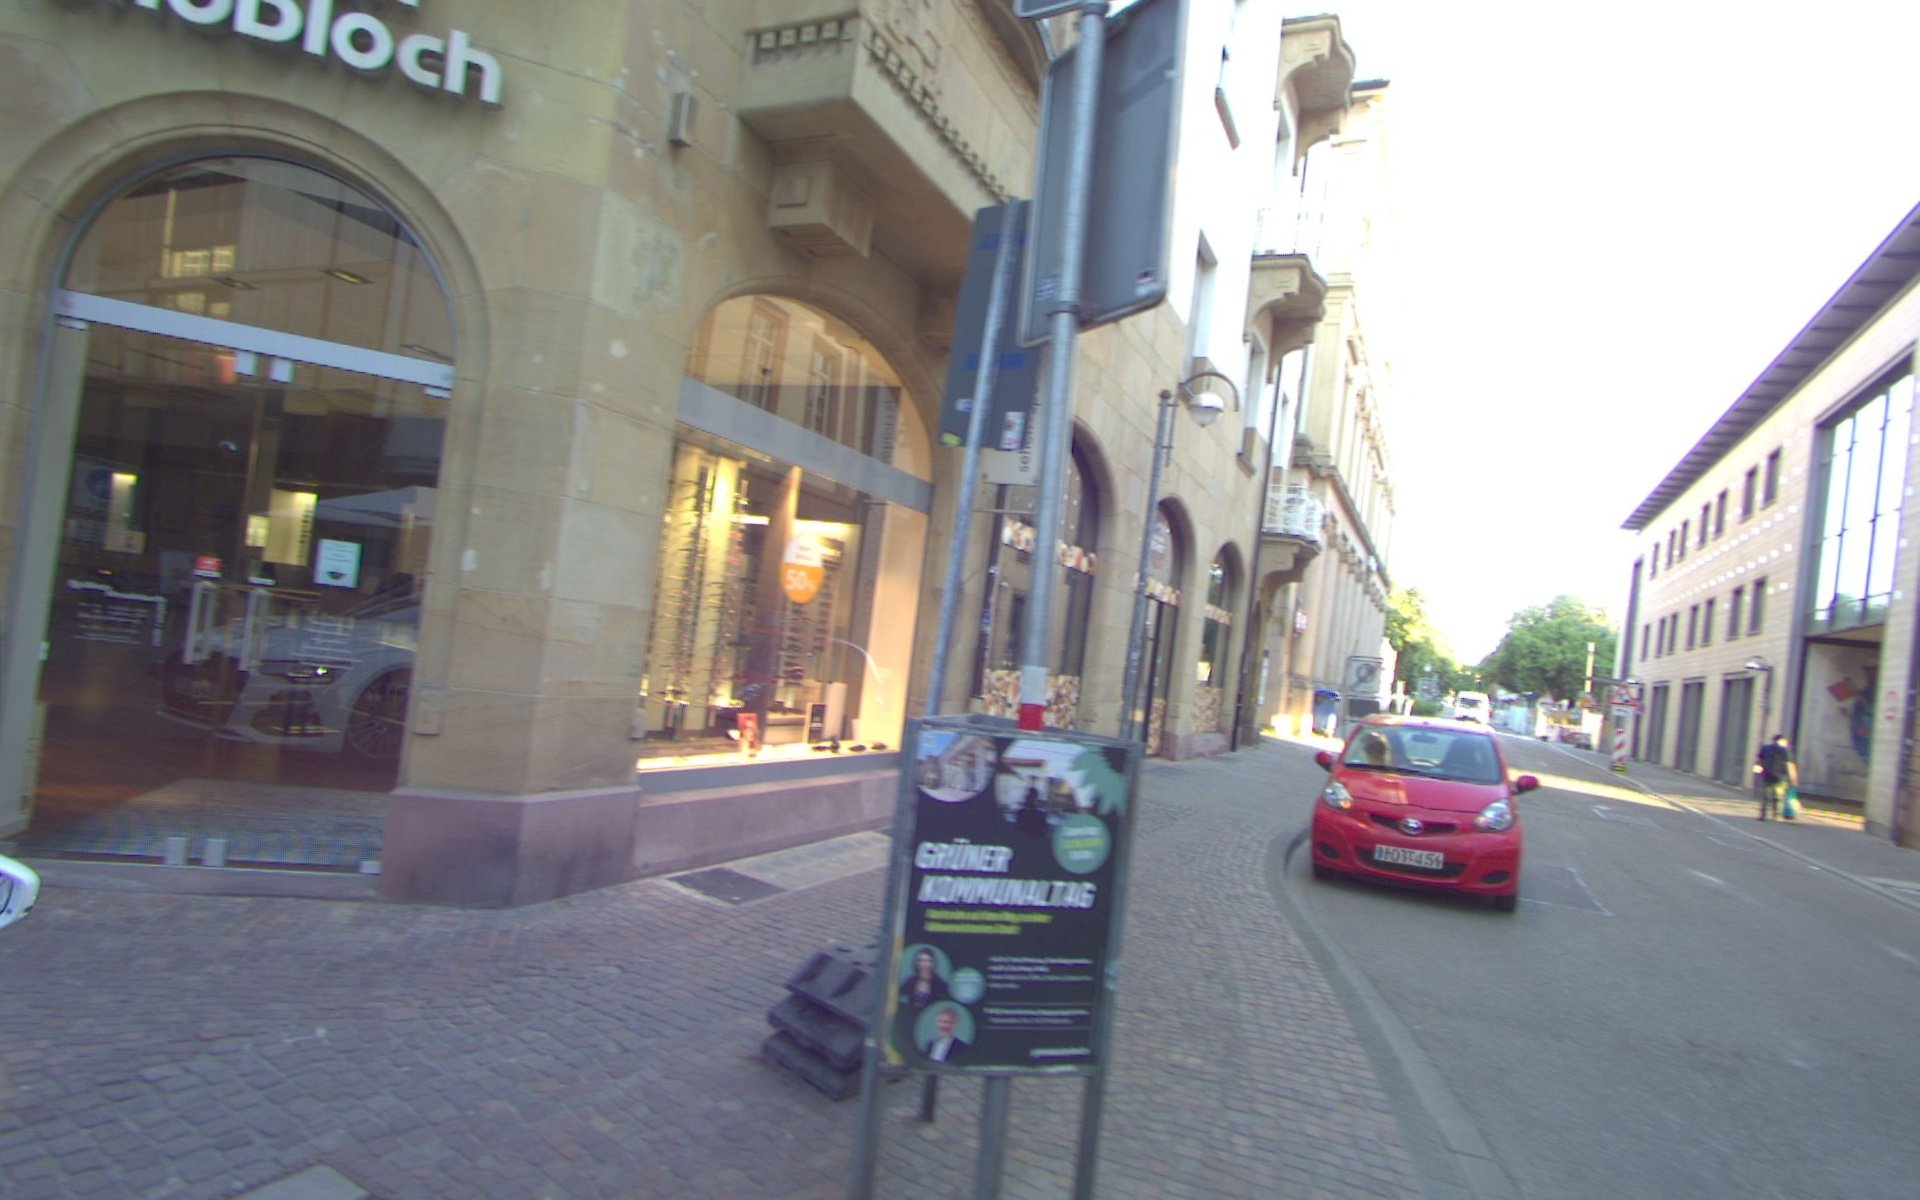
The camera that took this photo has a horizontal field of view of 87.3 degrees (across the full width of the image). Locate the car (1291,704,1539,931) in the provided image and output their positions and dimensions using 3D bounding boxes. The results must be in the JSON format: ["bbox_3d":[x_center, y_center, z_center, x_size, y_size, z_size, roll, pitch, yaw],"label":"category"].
[{"bbox_3d":[4.330,1.803,9.399,1.622,1.458,3.998,4,-4,28],"label":"car"}]

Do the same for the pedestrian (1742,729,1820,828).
[{"bbox_3d":[16.771,3.626,20.582,0.914,1.799,0.940,7,-1,29],"label":"pedestrian"}]

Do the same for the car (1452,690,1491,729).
[{"bbox_3d":[35.232,7.557,69.219,1.908,2.331,3.996,7,-2,31],"label":"car"}]
